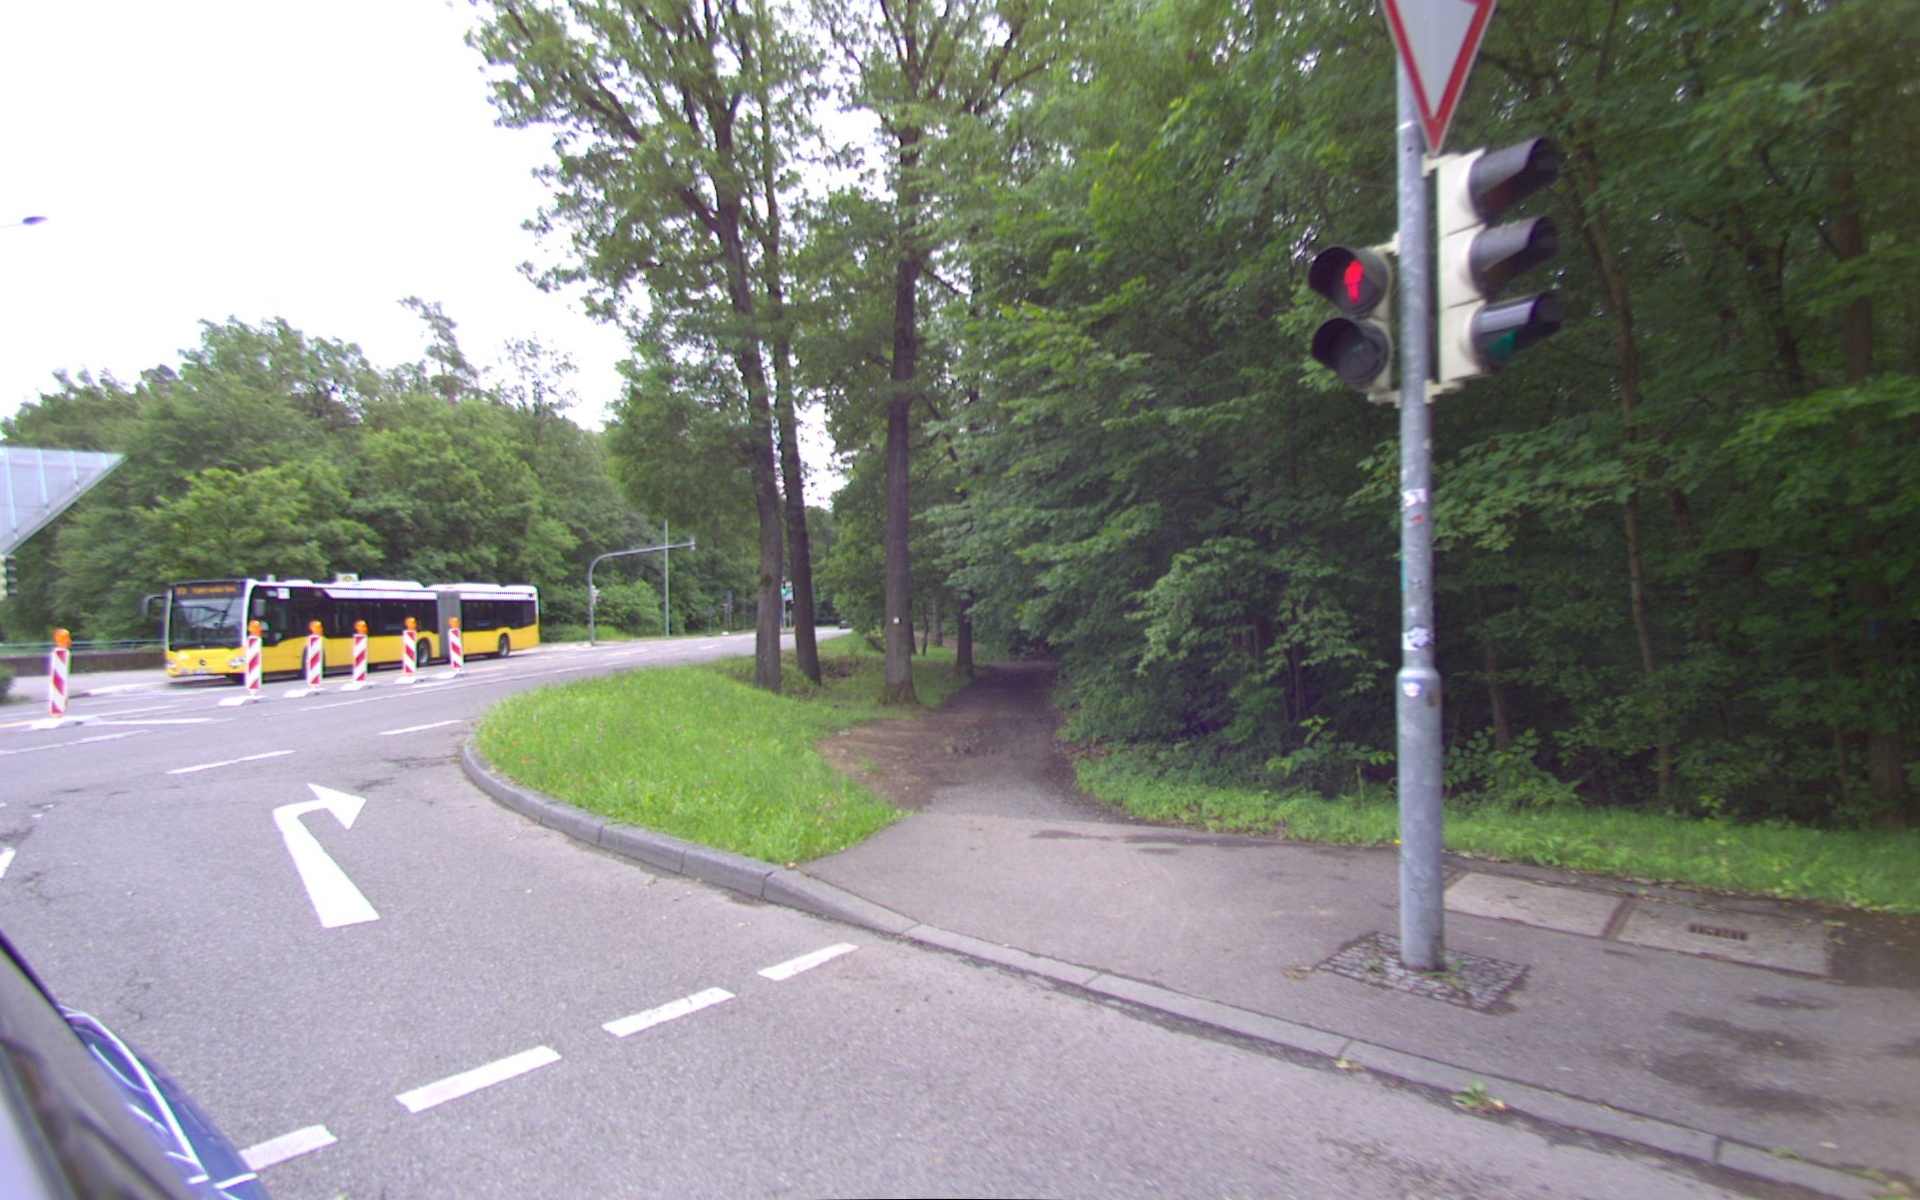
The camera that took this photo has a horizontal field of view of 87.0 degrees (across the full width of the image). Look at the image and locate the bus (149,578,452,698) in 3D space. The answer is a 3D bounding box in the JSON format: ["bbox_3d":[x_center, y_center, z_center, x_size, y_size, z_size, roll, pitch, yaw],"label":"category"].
[{"bbox_3d":[-20.927,1.155,33.294,2.774,3.183,10.511,-3,-1,2],"label":"bus"}]

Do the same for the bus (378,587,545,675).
[{"bbox_3d":[-20.570,1.241,42.404,2.775,3.183,7.749,-3,-1,3],"label":"bus"}]
